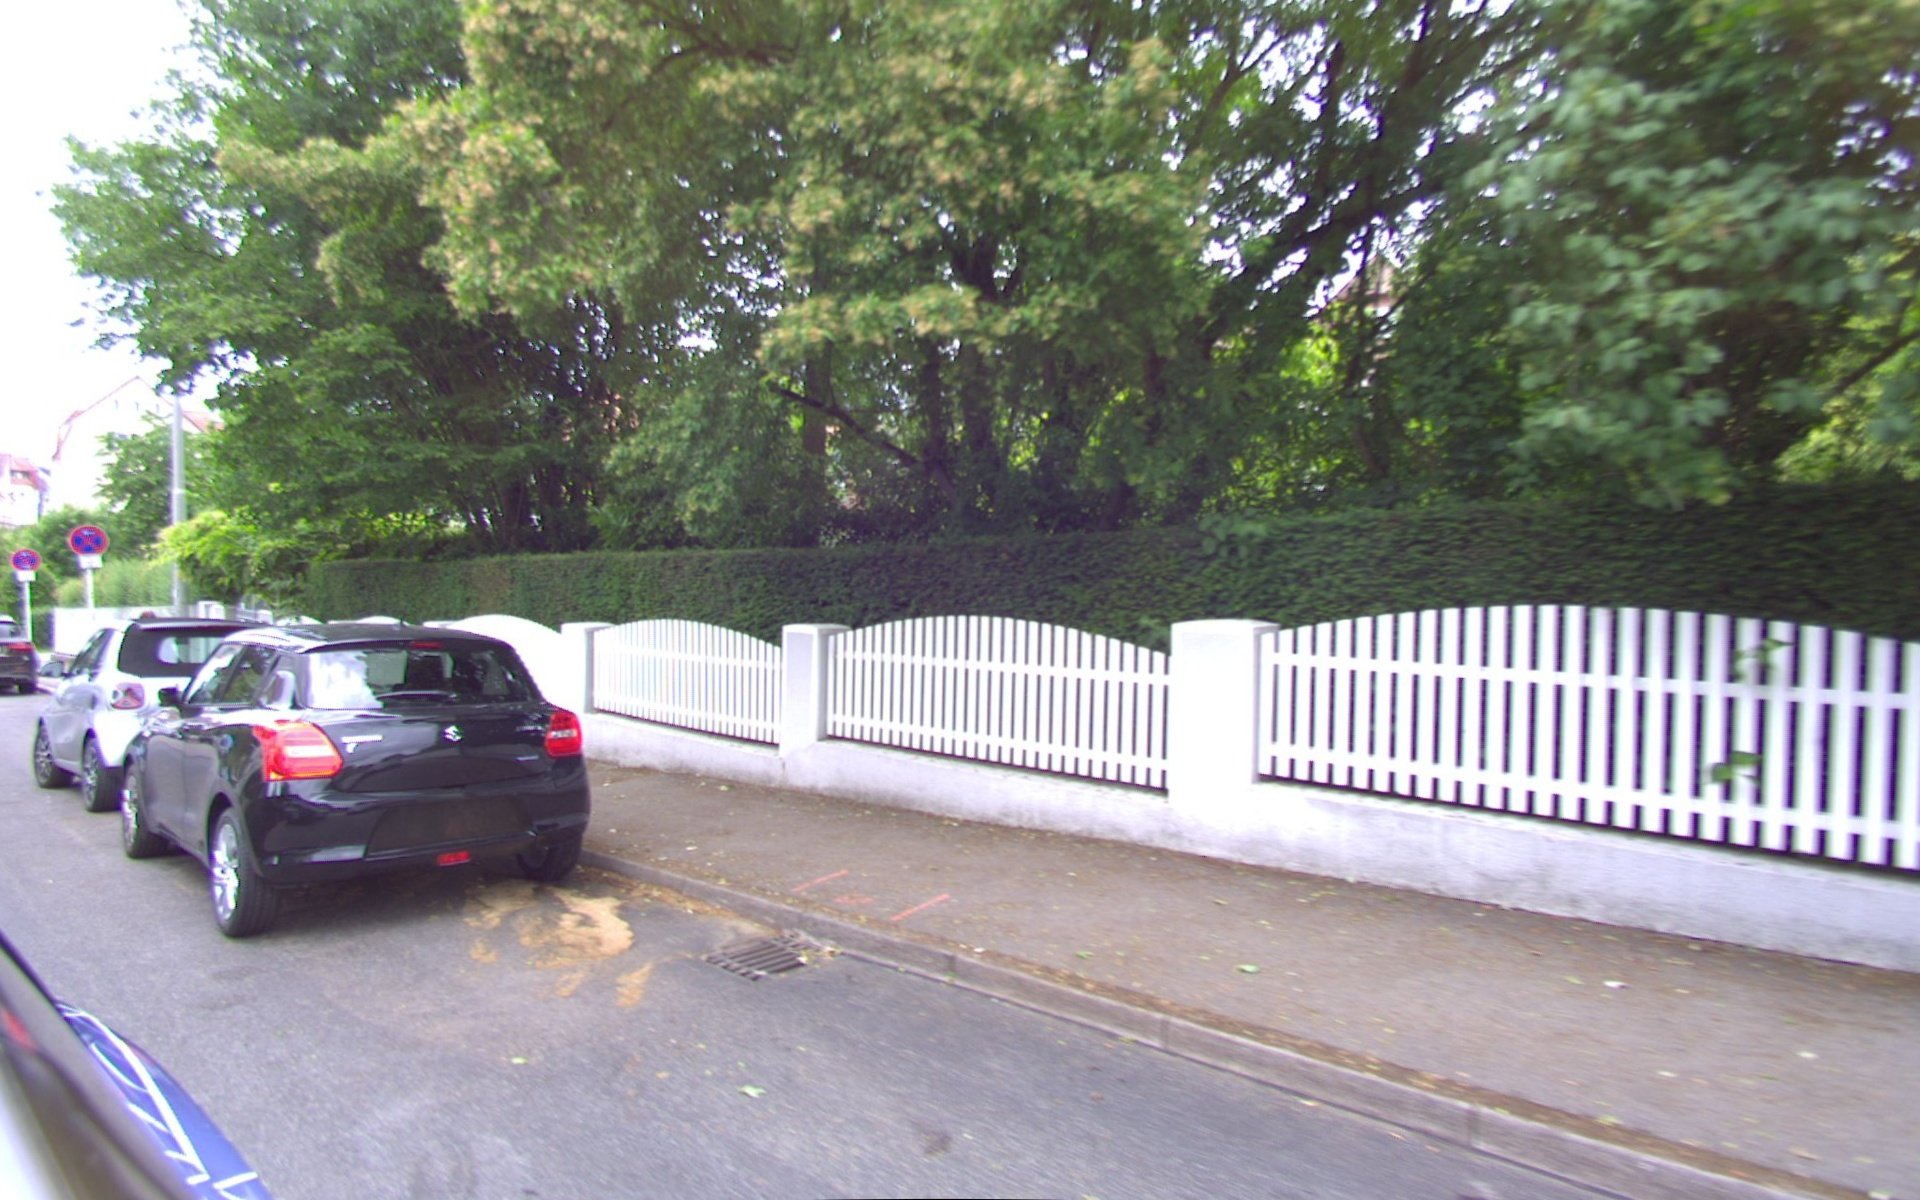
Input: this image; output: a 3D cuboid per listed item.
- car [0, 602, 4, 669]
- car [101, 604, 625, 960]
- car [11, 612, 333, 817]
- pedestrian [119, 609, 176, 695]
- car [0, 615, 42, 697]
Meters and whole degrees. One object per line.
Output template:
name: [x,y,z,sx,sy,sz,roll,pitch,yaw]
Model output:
car: [-25.419,0.976,25.241,4.618,1.928,1.835,0,-3,42]
car: [-3.820,0.837,6.189,3.887,1.492,1.637,-2,-4,42]
car: [-7.194,0.916,9.185,2.958,1.545,1.606,-1,-3,38]
pedestrian: [-15.734,0.989,19.593,0.797,1.557,0.602,-1,4,41]
car: [-20.853,1.132,21.205,4.338,1.635,1.773,-1,-2,39]
